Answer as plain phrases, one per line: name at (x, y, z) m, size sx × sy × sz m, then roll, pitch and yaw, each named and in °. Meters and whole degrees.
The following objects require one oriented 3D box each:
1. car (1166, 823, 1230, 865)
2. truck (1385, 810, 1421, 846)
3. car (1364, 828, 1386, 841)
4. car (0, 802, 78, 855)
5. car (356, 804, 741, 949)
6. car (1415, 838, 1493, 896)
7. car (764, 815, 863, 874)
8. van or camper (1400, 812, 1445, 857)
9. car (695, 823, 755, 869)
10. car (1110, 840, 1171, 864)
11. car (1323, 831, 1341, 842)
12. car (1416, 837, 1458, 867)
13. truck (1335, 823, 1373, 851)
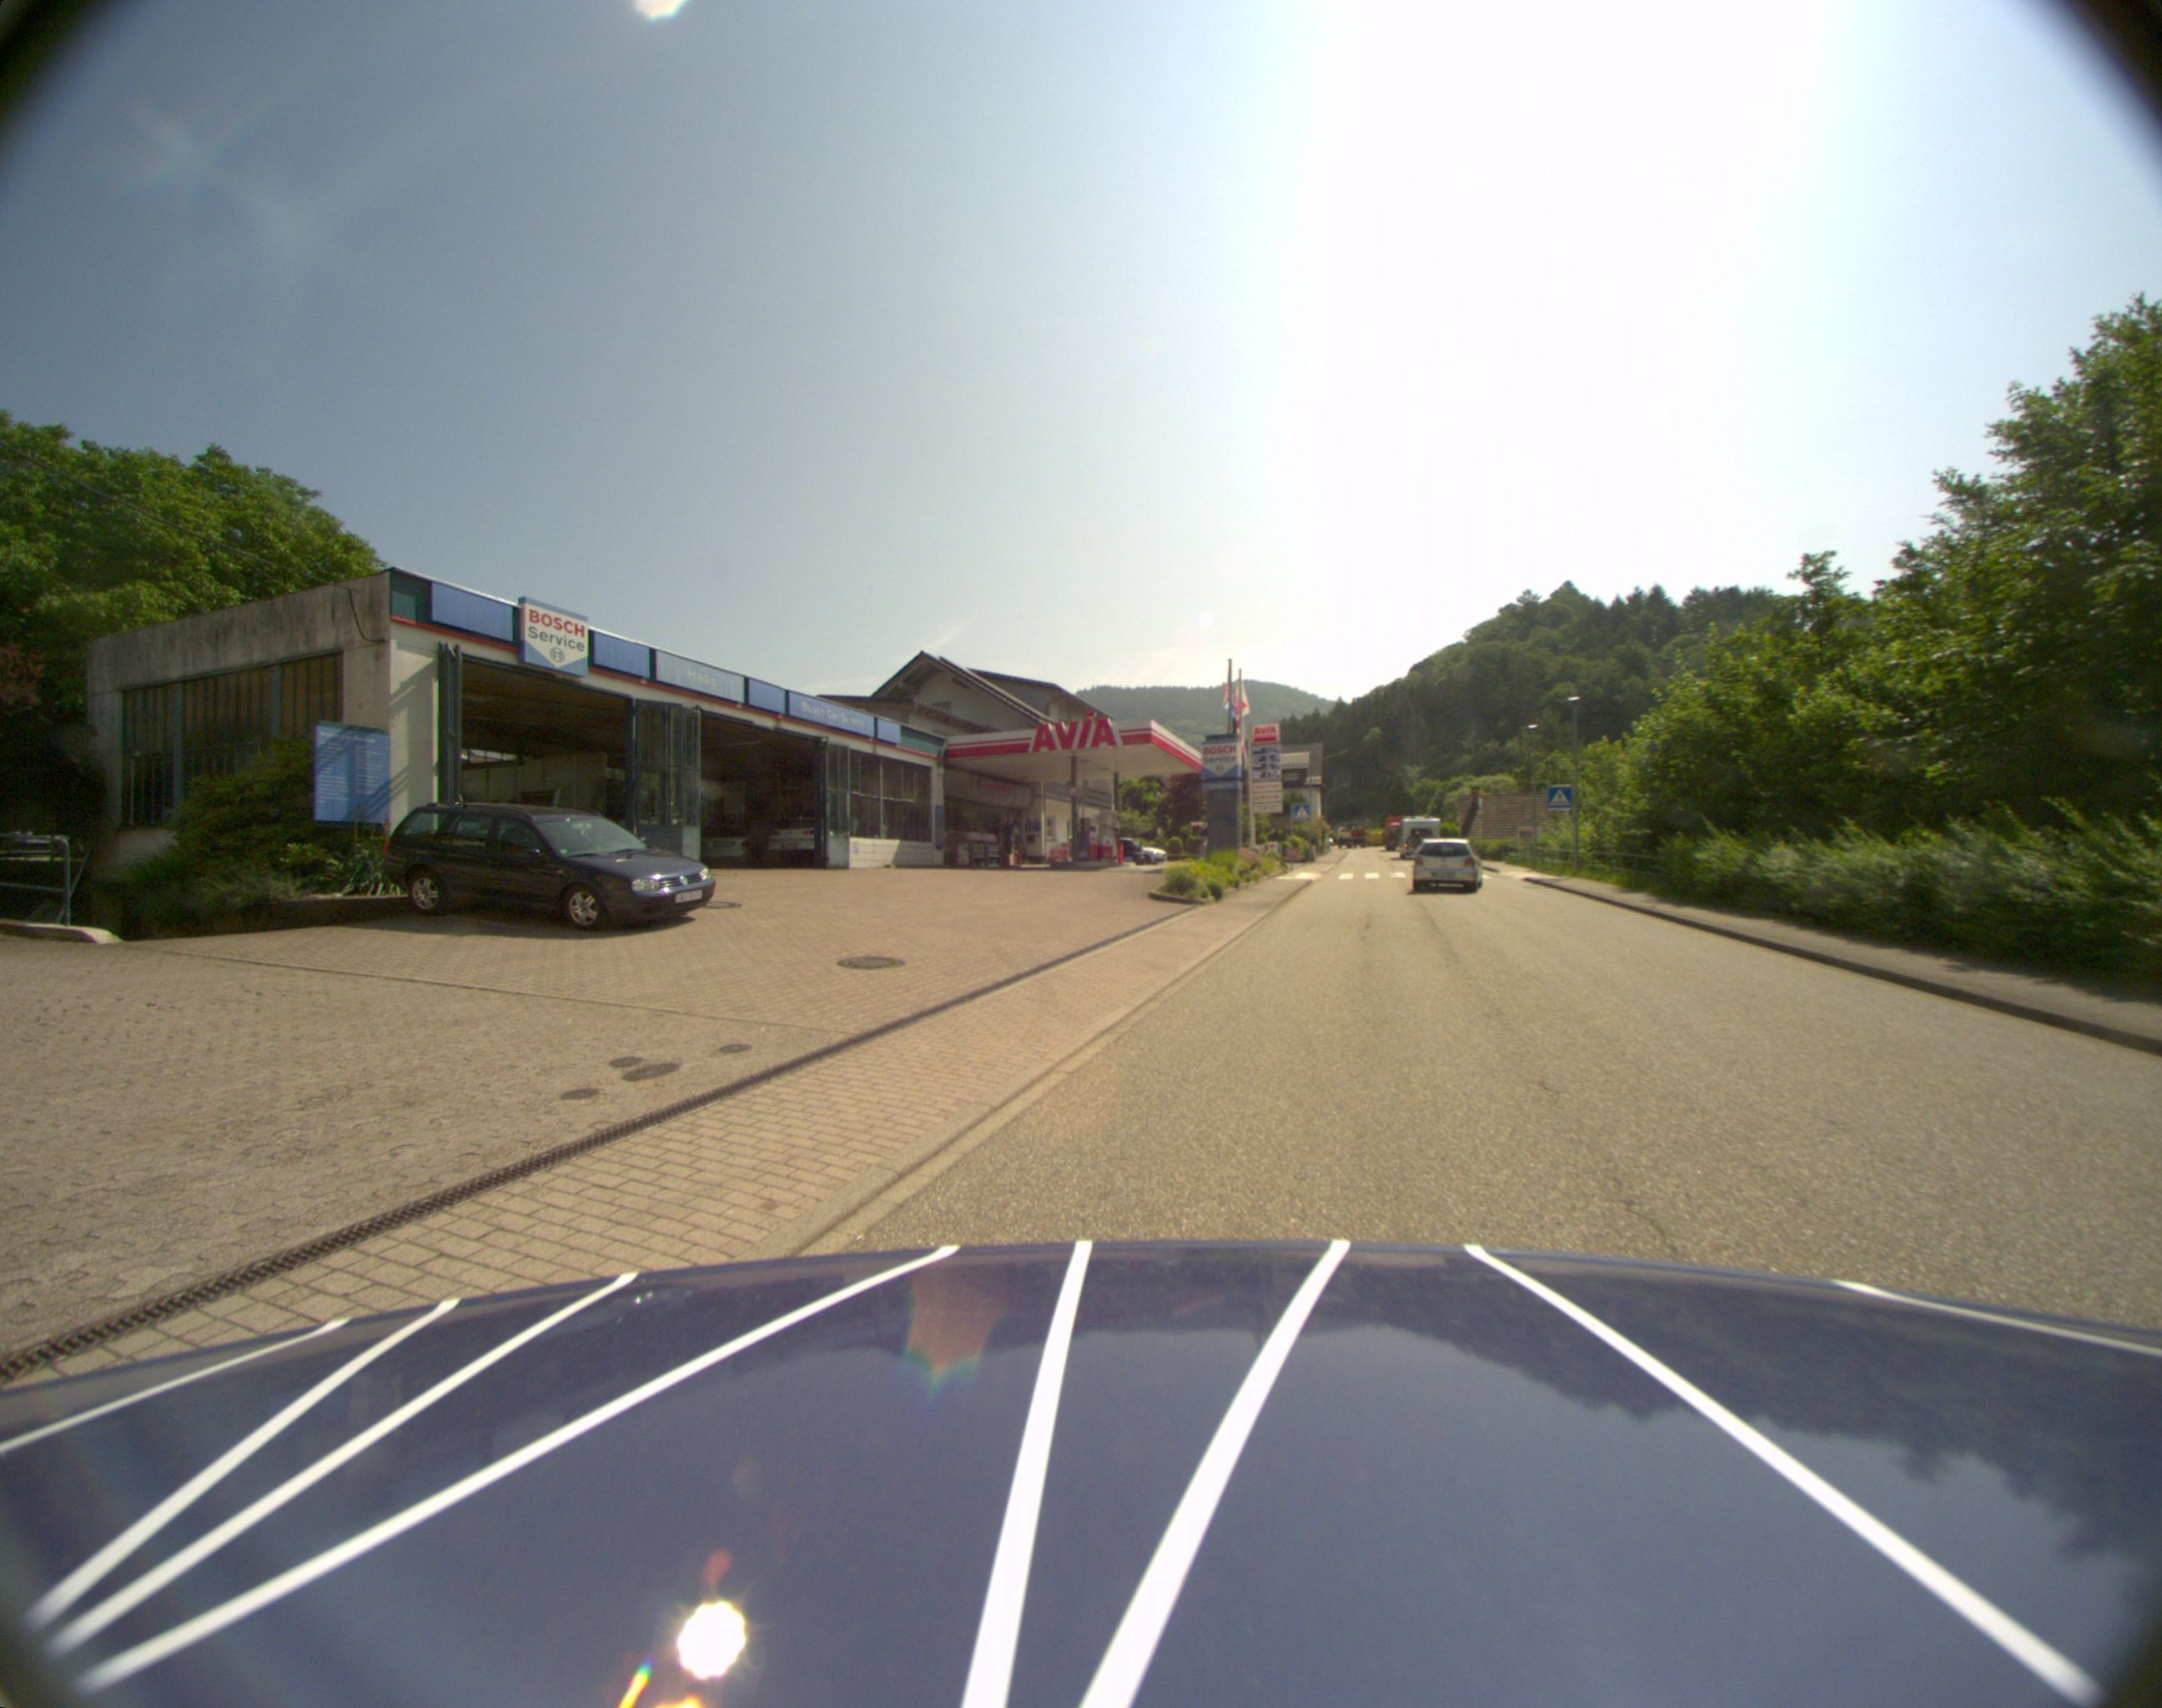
car at (4.911, -0.453, 31.423) m, size 1.693 × 1.569 × 3.916 m, roll 4°, pitch 3°, yaw 22°
truck at (33.345, -2.673, 78.968) m, size 2.647 × 3.562 × 8.202 m, roll 2°, pitch 2°, yaw 18°
car at (40.895, -2.720, 105.807) m, size 1.780 × 1.657 × 3.576 m, roll 3°, pitch 3°, yaw 3°
car at (-35.084, -0.868, 24.649) m, size 3.903 × 1.547 × 1.681 m, roll 3°, pitch 3°, yaw 15°
car at (-7.153, 0.201, 10.380) m, size 4.324 × 1.537 × 1.800 m, roll 3°, pitch 4°, yaw 12°
car at (10.805, 0.301, 21.890) m, size 1.591 × 1.474 × 3.764 m, roll 2°, pitch 2°, yaw 32°
car at (-8.609, -0.375, 24.817) m, size 1.604 × 1.679 × 3.929 m, roll 3°, pitch 3°, yaw 4°
van or camper at (23.971, -1.350, 53.604) m, size 2.360 × 2.936 × 8.063 m, roll 1°, pitch 1°, yaw 21°
car at (-11.783, -0.210, 25.040) m, size 1.551 × 1.397 × 3.471 m, roll 1°, pitch -1°, yaw -29°
car at (3.311, -0.144, 42.398) m, size 3.075 × 1.138 × 1.337 m, roll 4°, pitch 3°, yaw 20°
car at (39.357, -2.702, 119.388) m, size 1.786 × 1.565 × 3.598 m, roll 3°, pitch 3°, yaw 4°
car at (18.365, -0.144, 39.333) m, size 1.606 × 1.398 × 3.832 m, roll 2°, pitch 2°, yaw 20°
truck at (37.094, -2.345, 103.552) m, size 2.650 × 3.562 × 7.772 m, roll 1°, pitch 2°, yaw 3°
